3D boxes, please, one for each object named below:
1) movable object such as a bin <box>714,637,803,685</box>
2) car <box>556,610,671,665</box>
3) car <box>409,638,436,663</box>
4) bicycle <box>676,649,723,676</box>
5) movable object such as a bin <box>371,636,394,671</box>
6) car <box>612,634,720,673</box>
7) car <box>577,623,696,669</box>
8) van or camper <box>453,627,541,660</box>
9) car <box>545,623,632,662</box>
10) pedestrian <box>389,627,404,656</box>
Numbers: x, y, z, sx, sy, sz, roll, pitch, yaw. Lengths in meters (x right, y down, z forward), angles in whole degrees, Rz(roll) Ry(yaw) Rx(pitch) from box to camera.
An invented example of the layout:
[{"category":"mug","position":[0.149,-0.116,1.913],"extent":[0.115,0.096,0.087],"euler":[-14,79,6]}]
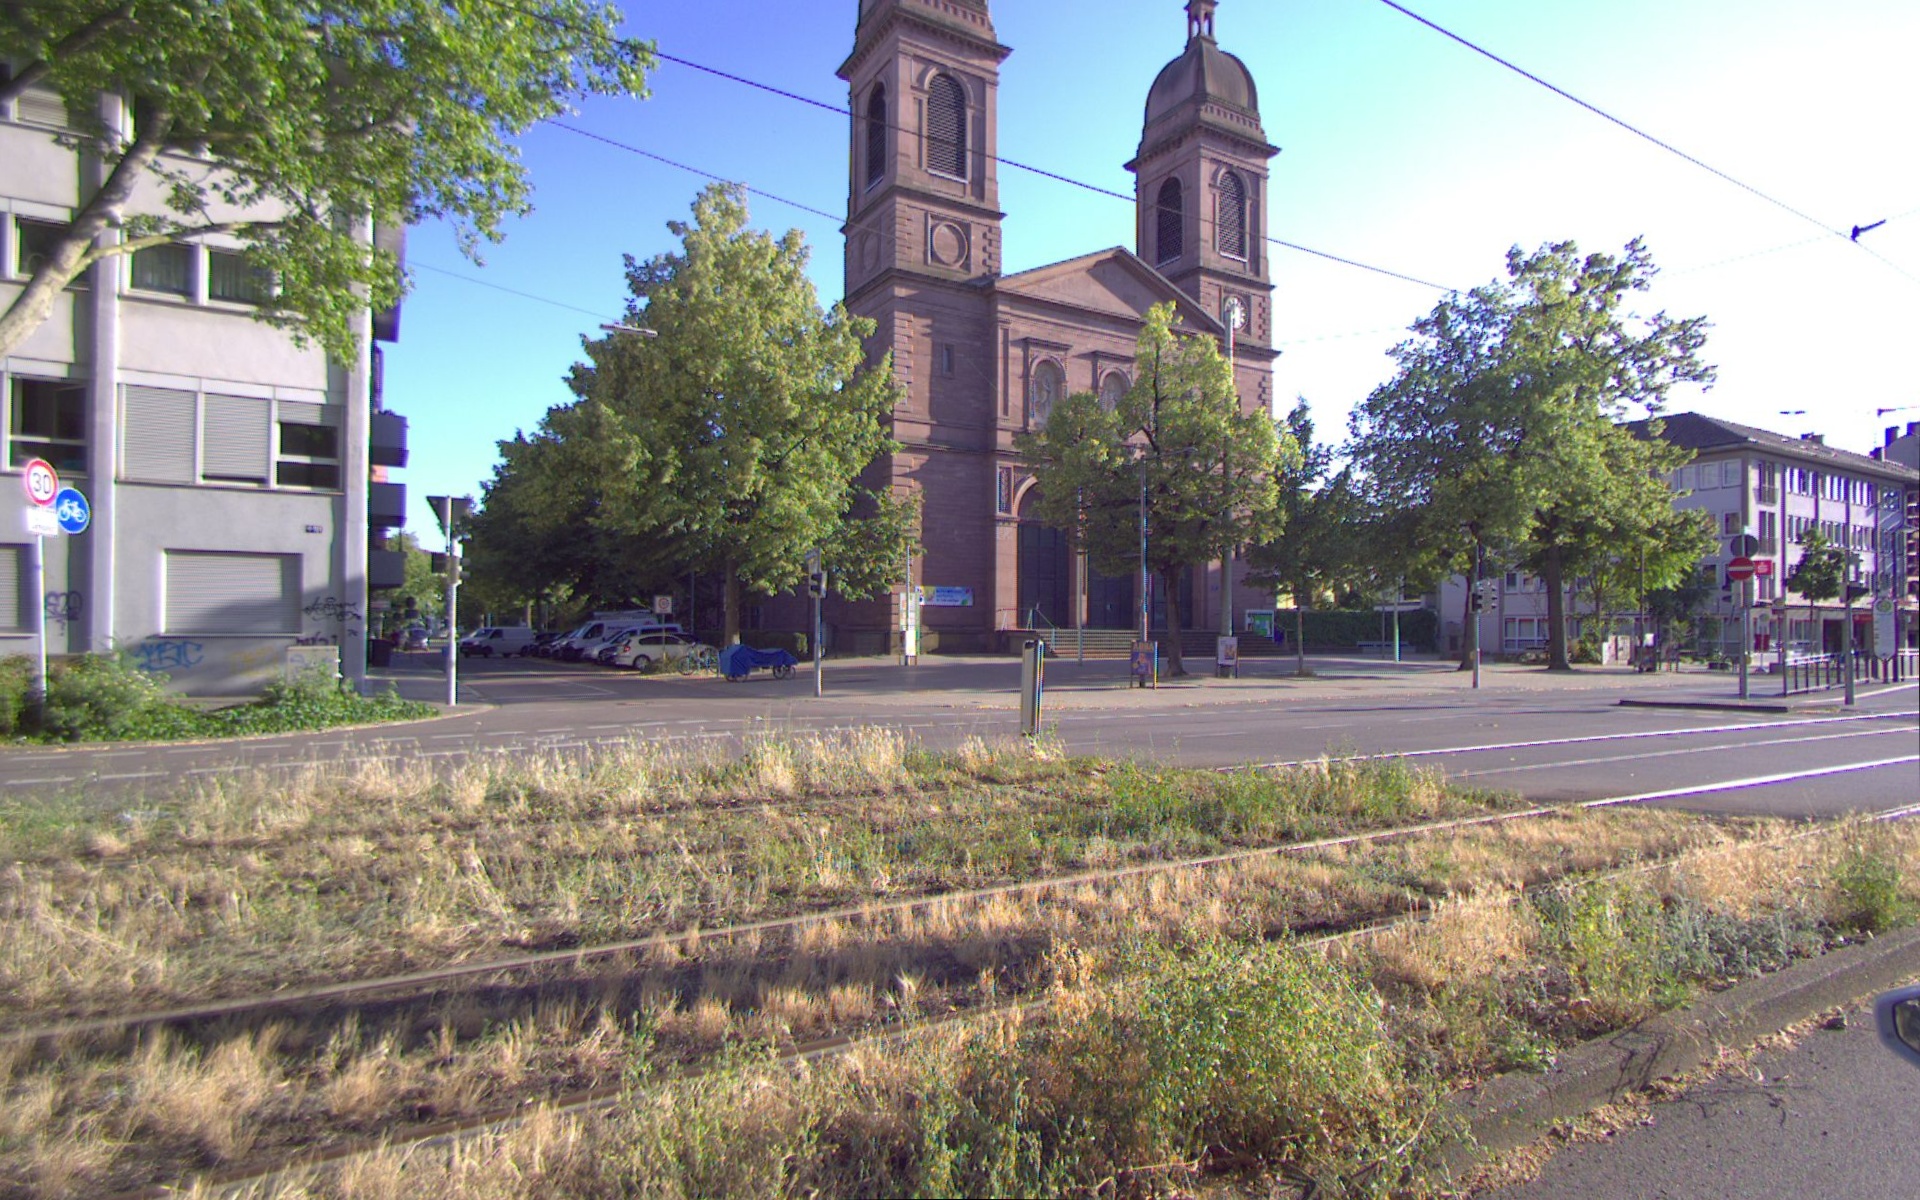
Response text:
[{"category":"movable object such as a bin","position":[-6.154,1.847,30.712],"extent":[2.416,1.228,1.102],"euler":[-3,2,-30]},{"category":"car","position":[-18.294,1.984,53.110],"extent":[5.382,2.710,1.980],"euler":[2,0,-36]},{"category":"car","position":[-45.769,4.237,85.471],"extent":[1.976,2.040,3.970],"euler":[1,-2,-29]},{"category":"bicycle","position":[-9.062,2.180,34.963],"extent":[1.517,0.904,0.465],"euler":[2,0,-27]},{"category":"movable object such as a bin","position":[-22.303,2.050,38.807],"extent":[0.737,1.323,0.865],"euler":[1,-2,-32]},{"category":"car","position":[-12.226,2.197,41.822],"extent":[3.953,1.479,1.984],"euler":[2,0,-30]},{"category":"car","position":[-15.522,2.198,48.316],"extent":[5.121,2.040,1.981],"euler":[2,0,-34]},{"category":"van or camper","position":[-30.025,2.795,65.292],"extent":[1.962,2.040,5.131],"euler":[0,-2,25]},{"category":"car","position":[-20.423,2.328,55.268],"extent":[4.174,2.040,1.981],"euler":[2,0,-34]},{"category":"pedestrian","position":[-34.426,2.529,61.347],"extent":[0.683,1.774,0.635],"euler":[2,-2,-41]}]
